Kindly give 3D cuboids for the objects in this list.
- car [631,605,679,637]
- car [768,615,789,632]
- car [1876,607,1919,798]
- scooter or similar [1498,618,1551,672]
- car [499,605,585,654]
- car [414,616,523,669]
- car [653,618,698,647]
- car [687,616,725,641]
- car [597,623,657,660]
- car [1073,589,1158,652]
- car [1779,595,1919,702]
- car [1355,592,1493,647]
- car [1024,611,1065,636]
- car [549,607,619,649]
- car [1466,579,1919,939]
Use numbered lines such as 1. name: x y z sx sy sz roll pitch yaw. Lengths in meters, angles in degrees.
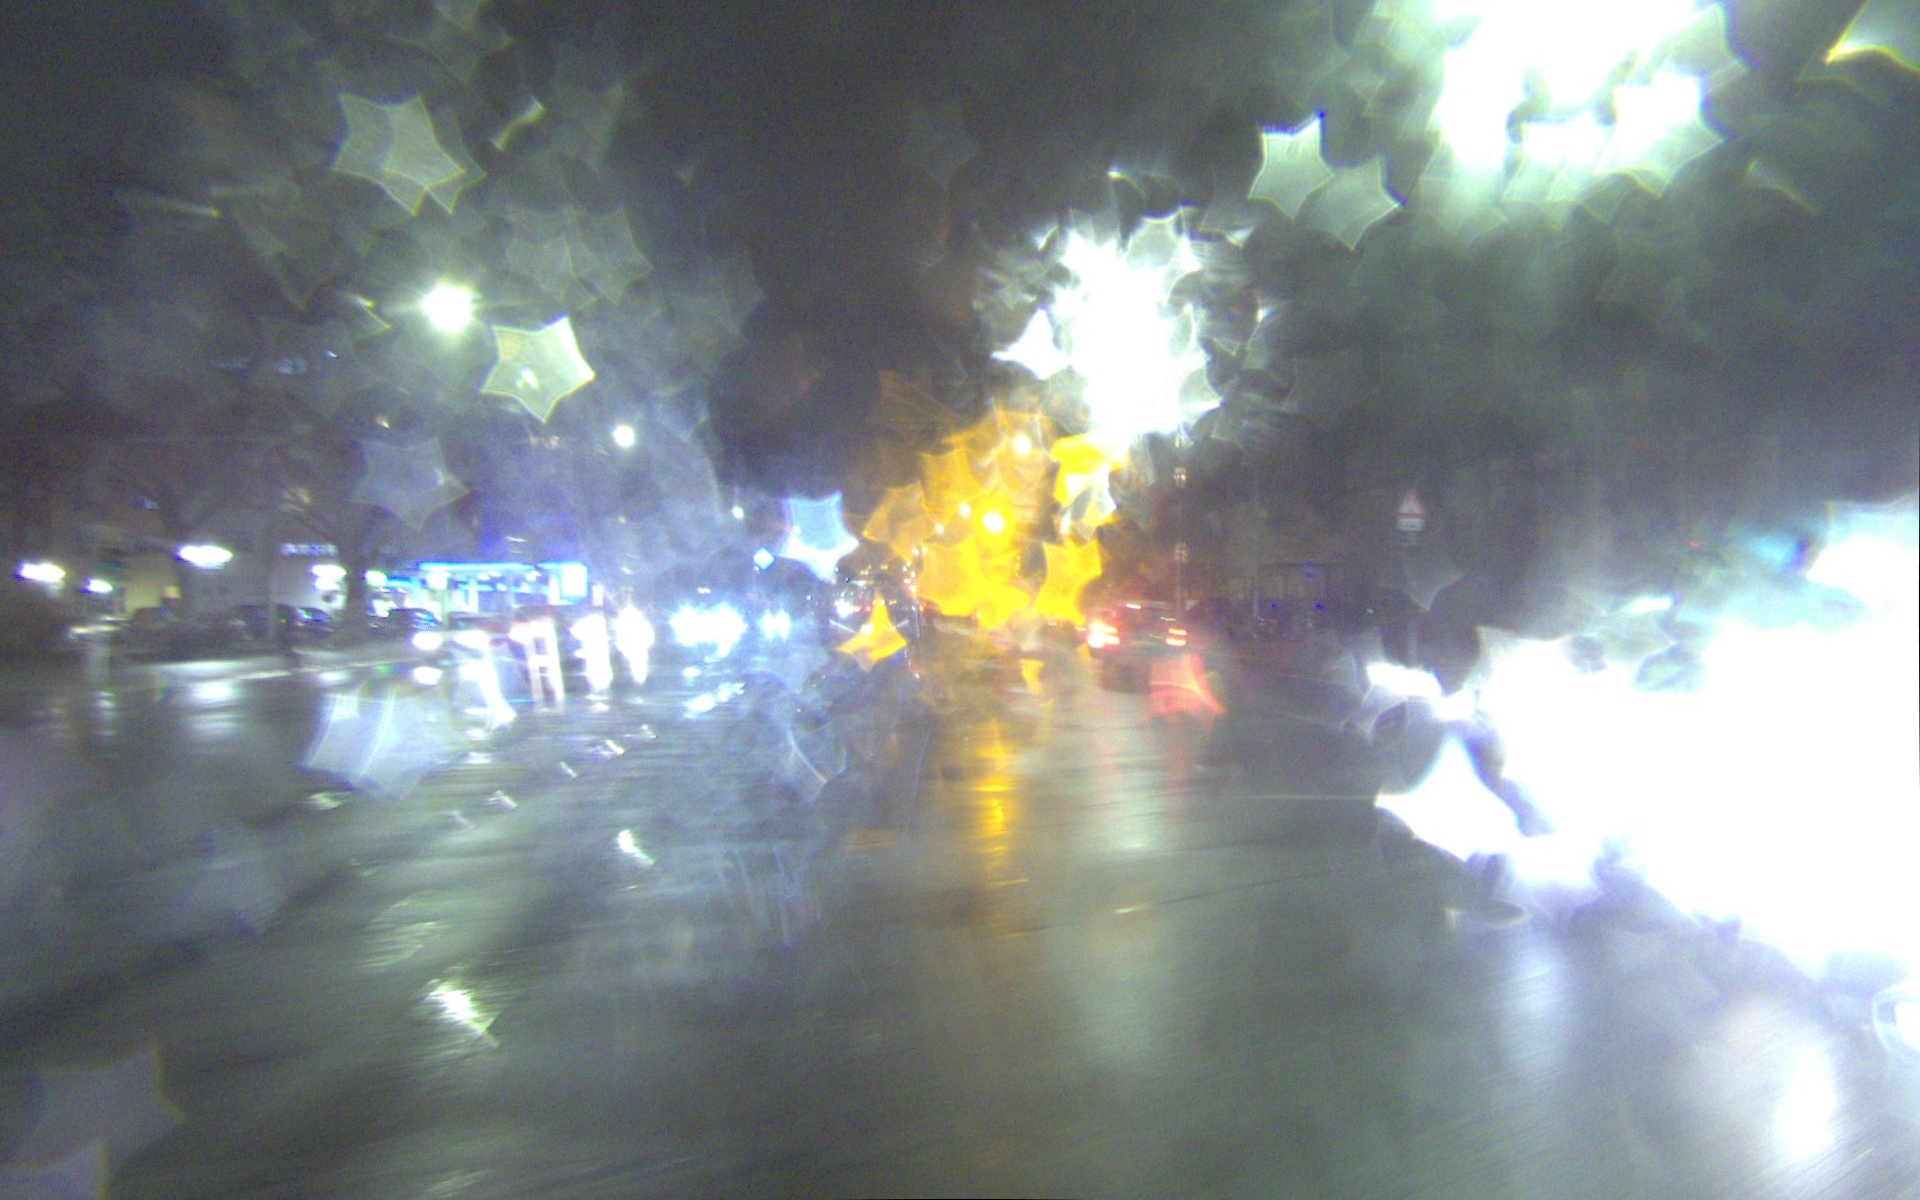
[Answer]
1. car: -18.022 1.242 59.533 1.862 1.766 4.735 -1 -1 -7
2. car: -18.796 2.417 104.115 1.862 1.766 4.735 -1 -1 -7
3. car: 9.987 0.833 8.905 3.960 1.583 1.661 -1 0 -30
4. scooter or similar: 13.437 1.072 23.914 1.060 1.256 0.285 -1 0 32
5. car: -16.443 1.127 39.772 1.862 1.766 4.735 -1 -1 -7
6. car: -16.138 1.345 33.226 1.862 1.590 4.329 -1 -1 -7
7. car: -18.805 2.110 66.599 1.861 1.766 4.737 -1 -1 -4
8. car: -18.864 2.088 74.828 1.861 1.766 4.737 -1 -1 -4
9. car: -17.516 2.153 53.056 1.861 1.766 4.737 -1 -1 -4
10. car: 4.835 0.638 31.816 1.861 1.804 4.332 -1 -1 -2
11. car: 14.948 0.675 15.802 4.008 1.506 1.757 -1 0 -27
12. car: 16.542 0.688 35.897 4.114 1.723 1.701 -3 0 -5
13. car: 6.286 1.747 75.306 2.050 1.804 4.326 -1 -1 -10
14. car: -17.208 1.256 46.208 1.862 1.766 4.735 -1 -1 -7
15. car: 5.061 0.688 6.118 3.942 1.563 1.698 -1 0 -31
